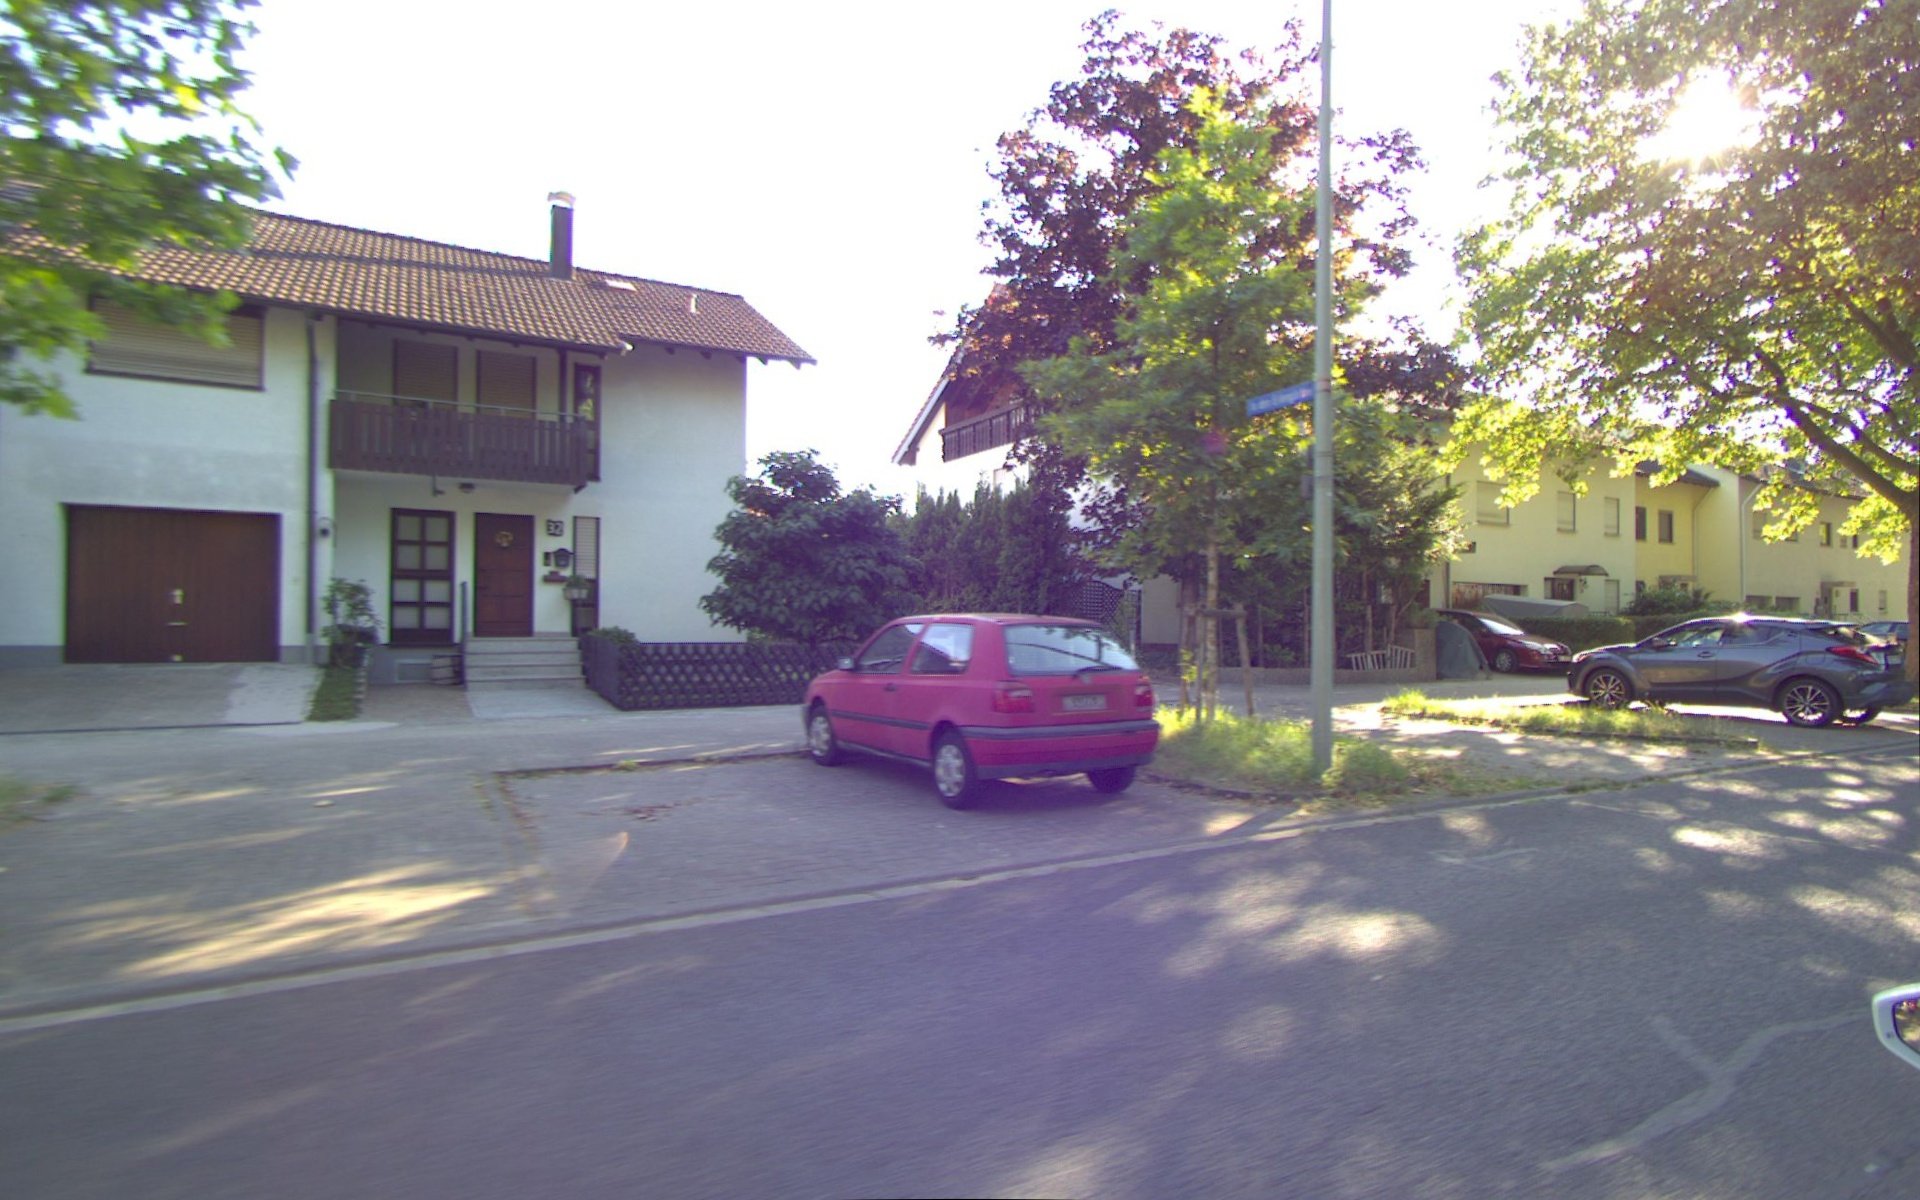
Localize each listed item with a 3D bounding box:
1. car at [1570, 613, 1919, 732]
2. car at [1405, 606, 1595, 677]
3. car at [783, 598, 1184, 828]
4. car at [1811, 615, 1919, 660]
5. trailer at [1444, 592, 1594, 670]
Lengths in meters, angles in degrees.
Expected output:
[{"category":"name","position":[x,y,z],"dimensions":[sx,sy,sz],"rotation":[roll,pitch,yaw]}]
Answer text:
[{"category":"car","position":[11.940,1.000,15.495],"dimensions":[1.796,1.538,3.969],"rotation":[1,-1,-30]},{"category":"car","position":[14.239,1.044,26.719],"dimensions":[1.975,1.497,3.970],"rotation":[1,3,-28]},{"category":"car","position":[-0.029,0.766,8.786],"dimensions":[1.647,1.538,3.849],"rotation":[1,0,-33]},{"category":"car","position":[34.622,1.387,37.472],"dimensions":[1.877,1.484,3.971],"rotation":[1,1,-27]},{"category":"trailer","position":[16.228,0.839,29.303],"dimensions":[1.623,1.952,3.436],"rotation":[-1,4,-30]}]
